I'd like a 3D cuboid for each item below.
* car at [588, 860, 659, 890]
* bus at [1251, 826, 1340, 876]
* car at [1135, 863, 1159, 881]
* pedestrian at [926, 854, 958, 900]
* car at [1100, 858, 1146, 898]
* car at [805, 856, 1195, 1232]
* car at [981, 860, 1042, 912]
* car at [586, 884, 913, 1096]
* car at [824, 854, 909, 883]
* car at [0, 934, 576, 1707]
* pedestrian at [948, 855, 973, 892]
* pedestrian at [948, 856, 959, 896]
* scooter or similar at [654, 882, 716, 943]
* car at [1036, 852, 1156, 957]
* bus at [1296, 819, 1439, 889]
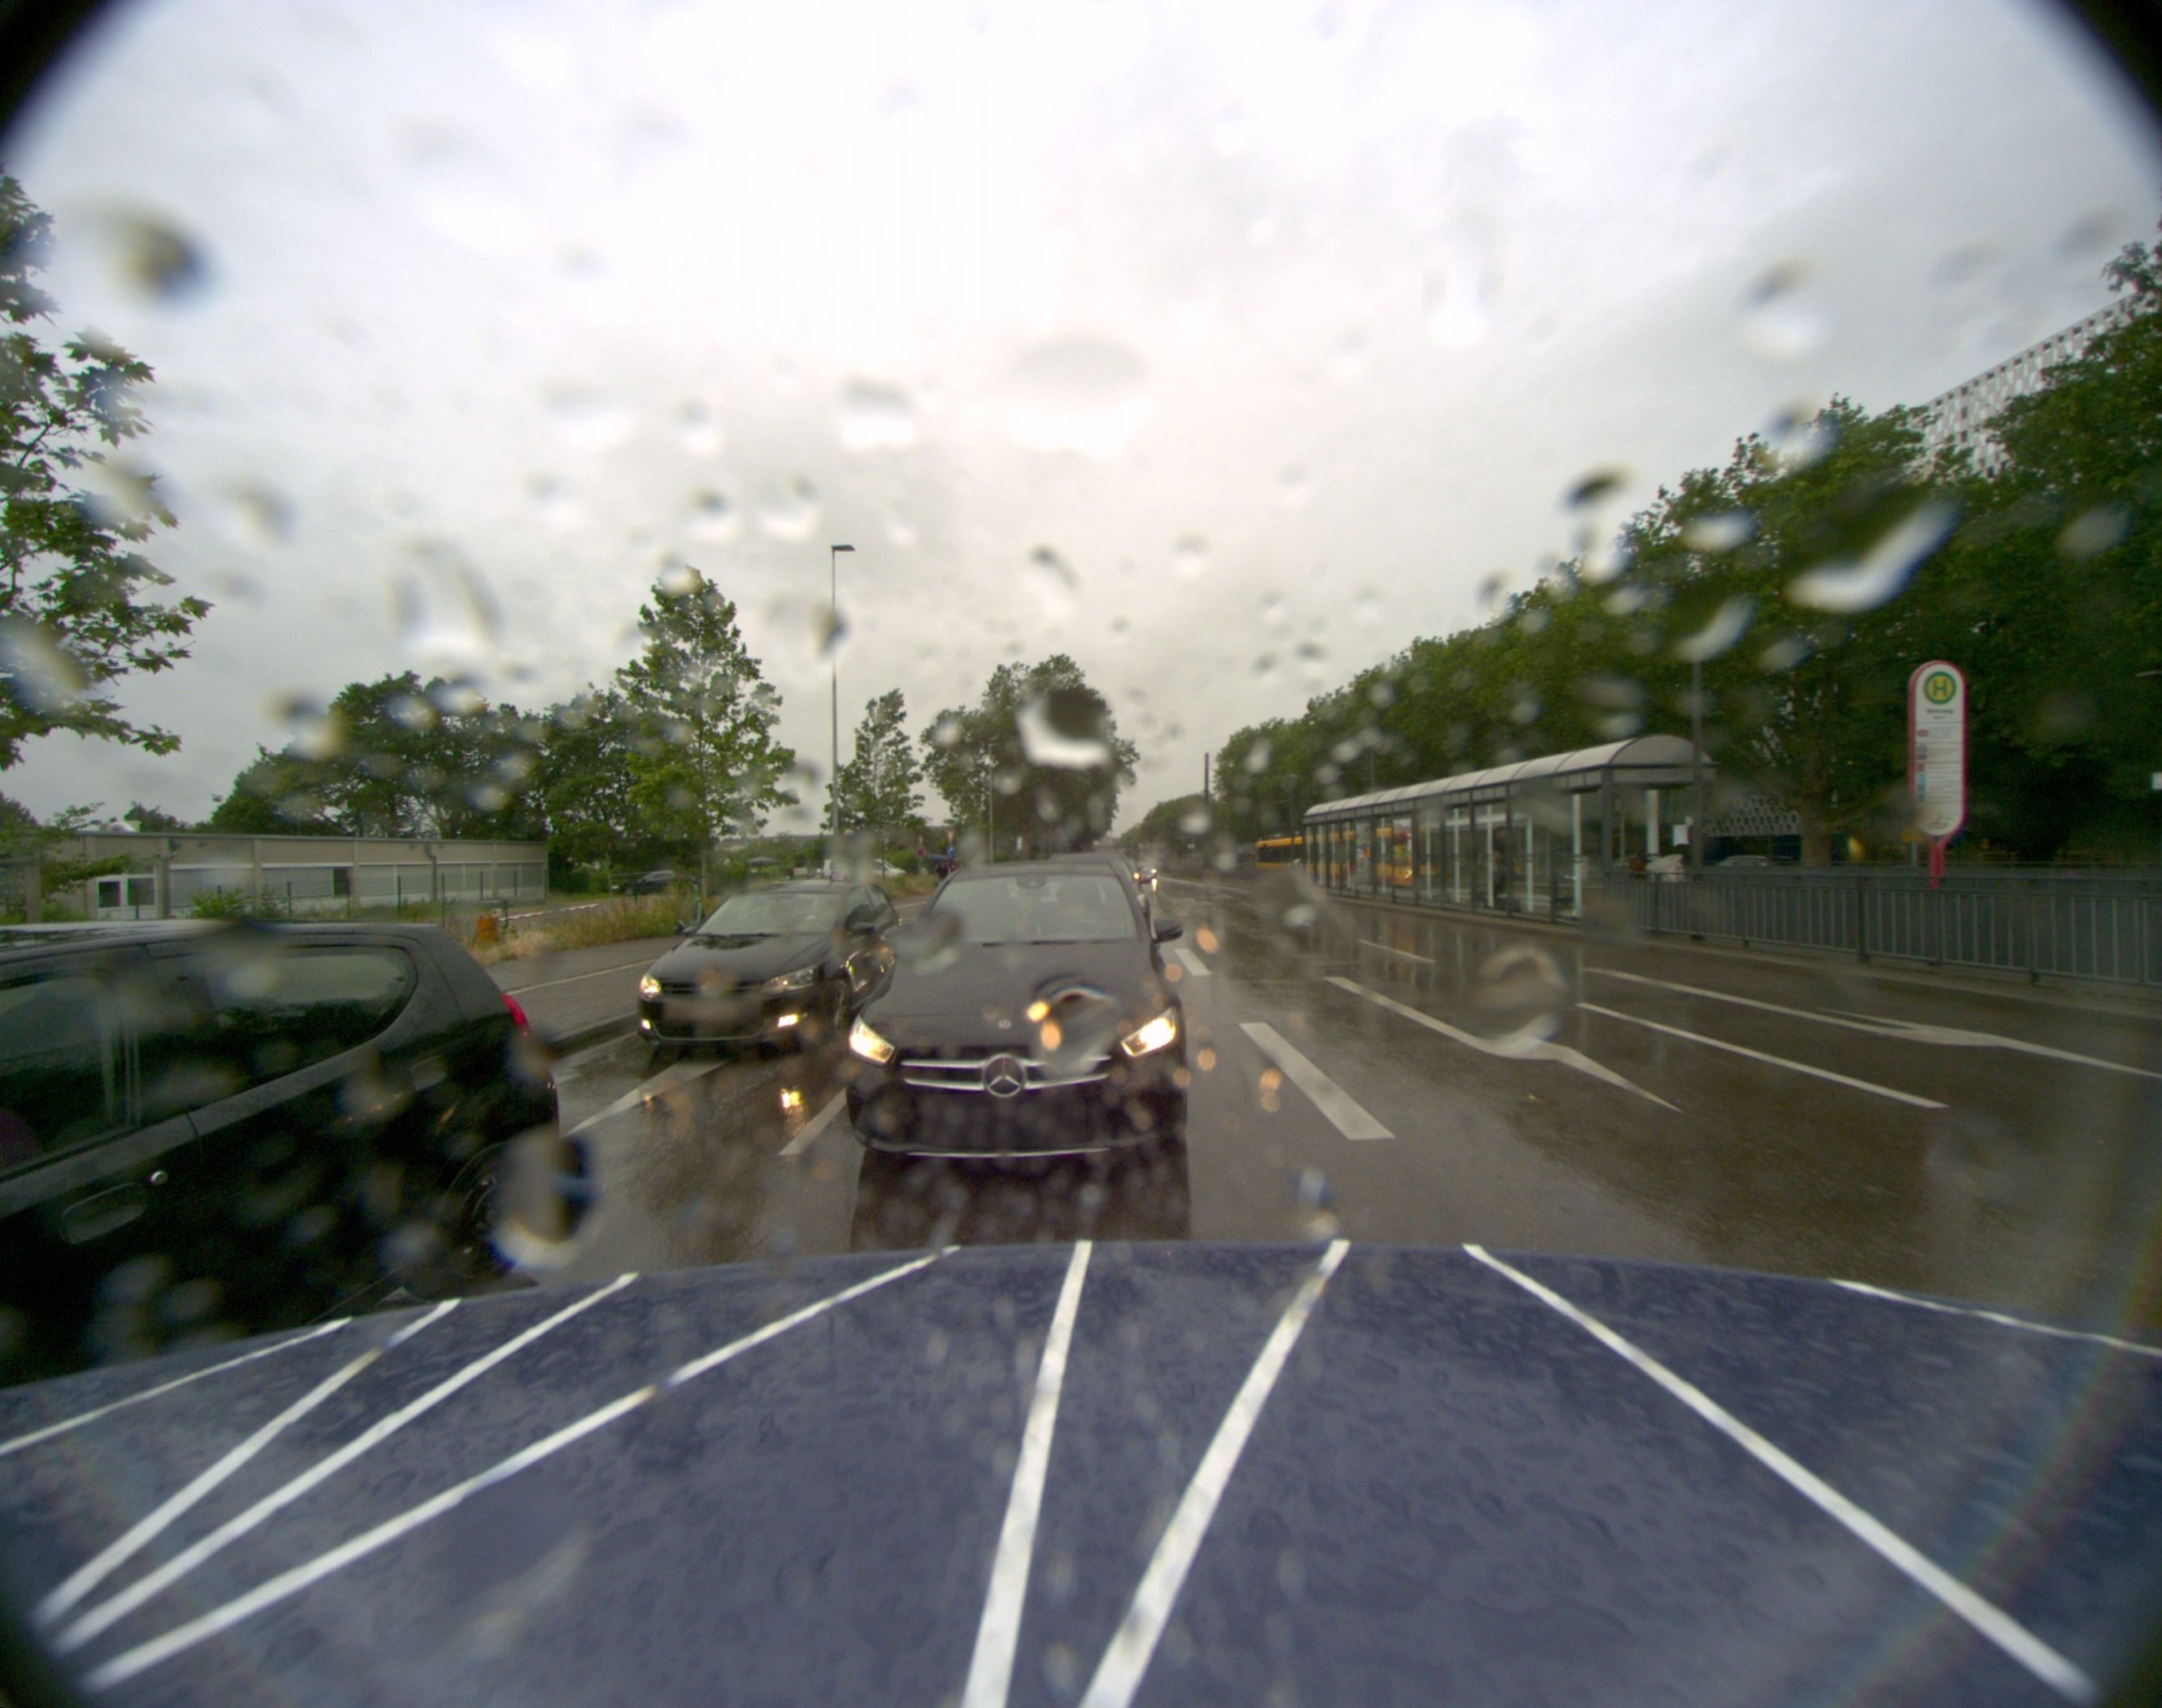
[{"bbox_3d":[-33.960,1.516,56.520,3.996,2.002,2.000,-2,1,2],"label":"car"},{"bbox_3d":[16.387,-0.297,59.578,2.938,3.310,15.062,-2,1,1],"label":"bus"},{"bbox_3d":[5.706,1.553,66.051,1.766,1.390,4.645,-2,0,2],"label":"car"},{"bbox_3d":[-5.475,0.894,30.053,1.082,1.746,0.969,0,1,0],"label":"pedestrian"},{"bbox_3d":[1.883,1.038,34.966,1.794,1.597,3.999,-2,1,0],"label":"car"},{"bbox_3d":[-0.335,0.867,5.492,1.690,1.578,4.163,-2,1,1],"label":"car"},{"bbox_3d":[-2.379,1.063,26.804,1.698,1.565,3.813,-2,1,1],"label":"car"},{"bbox_3d":[-2.919,1.109,7.585,1.633,1.420,3.624,-2,0,0],"label":"car"},{"bbox_3d":[-13.477,0.891,47.980,4.759,1.640,1.999,-2,1,-2],"label":"car"},{"bbox_3d":[-3.009,1.076,1.447,1.633,1.420,3.624,-2,0,0],"label":"car"},{"bbox_3d":[-5.596,0.886,35.299,1.025,1.698,0.891,1,1,0],"label":"pedestrian"},{"bbox_3d":[-5.372,0.924,32.036,0.401,1.652,0.441,1,1,0],"label":"pedestrian"},{"bbox_3d":[-8.209,1.180,15.808,0.381,1.123,1.777,0,1,-1],"label":"scooter or similar"},{"bbox_3d":[0.205,0.719,12.505,1.633,1.420,3.624,-2,0,0],"label":"car"},{"bbox_3d":[16.062,-0.090,44.487,2.938,3.310,15.062,-2,1,1],"label":"bus"}]
